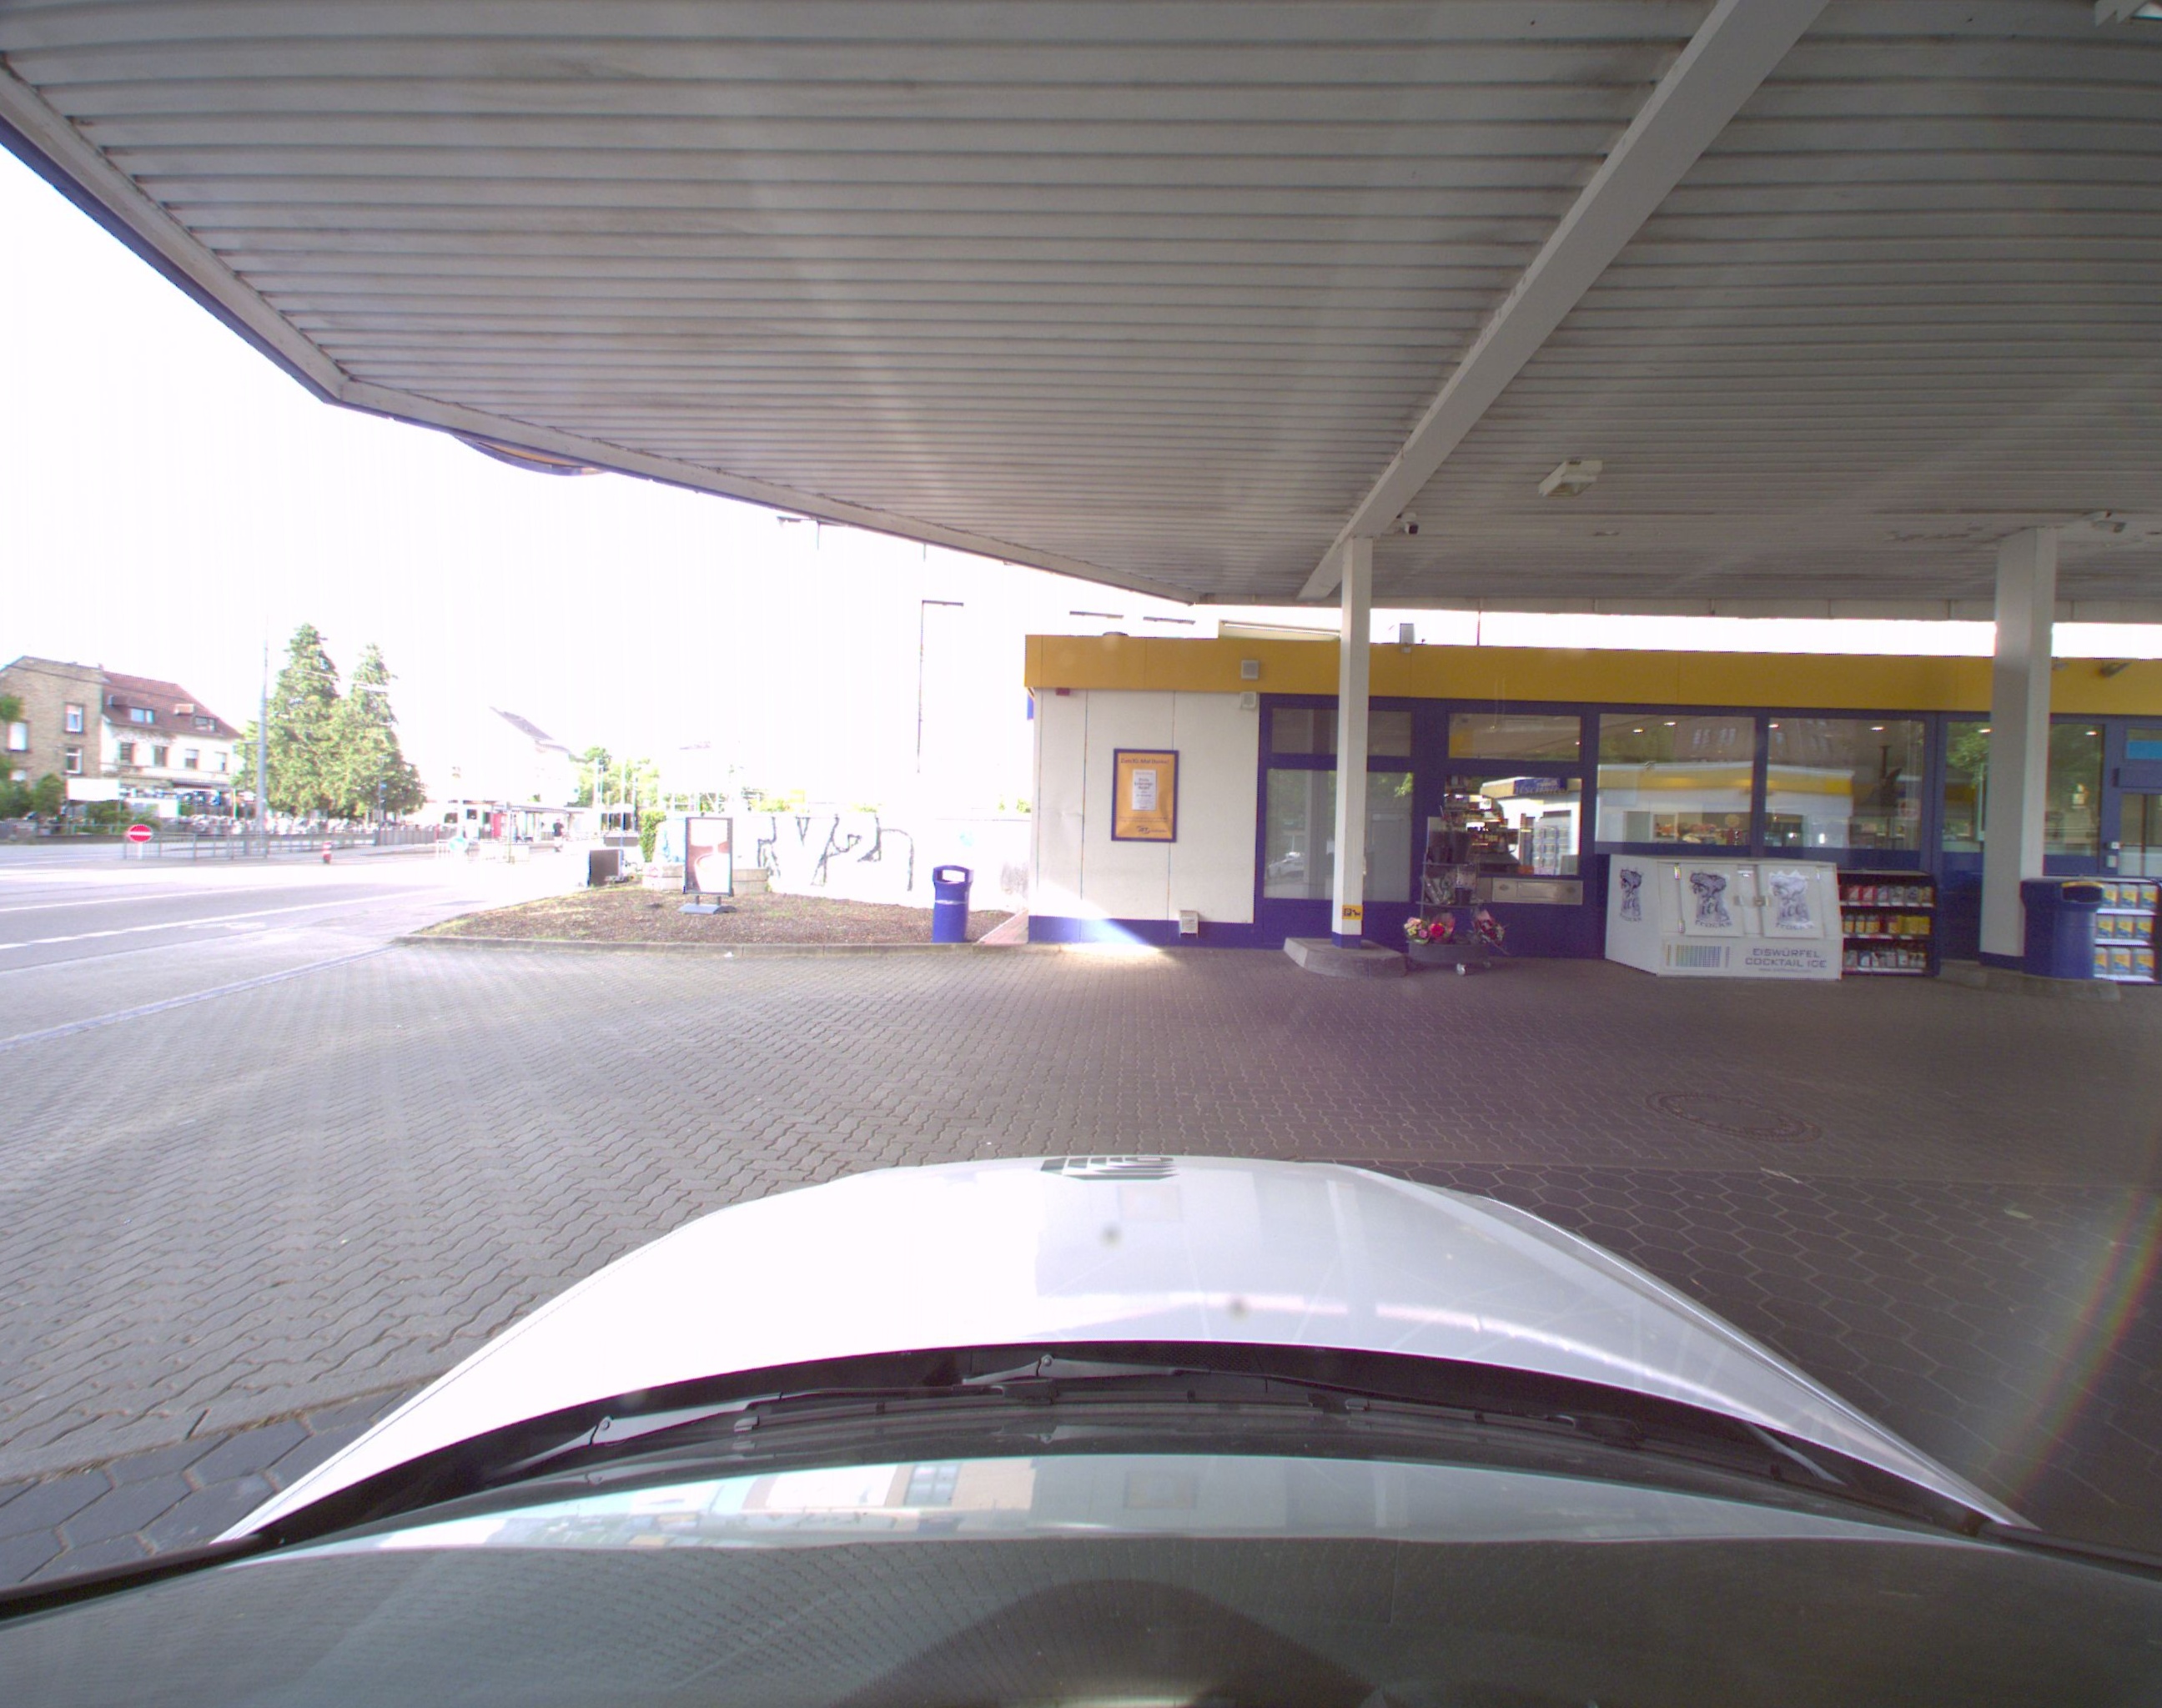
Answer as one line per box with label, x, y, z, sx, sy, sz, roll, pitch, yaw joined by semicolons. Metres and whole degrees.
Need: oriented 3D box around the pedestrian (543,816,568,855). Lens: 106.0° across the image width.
pedestrian;-27.269;-0.940;42.252;0.806;2.014;0.848;0;-1;-9
